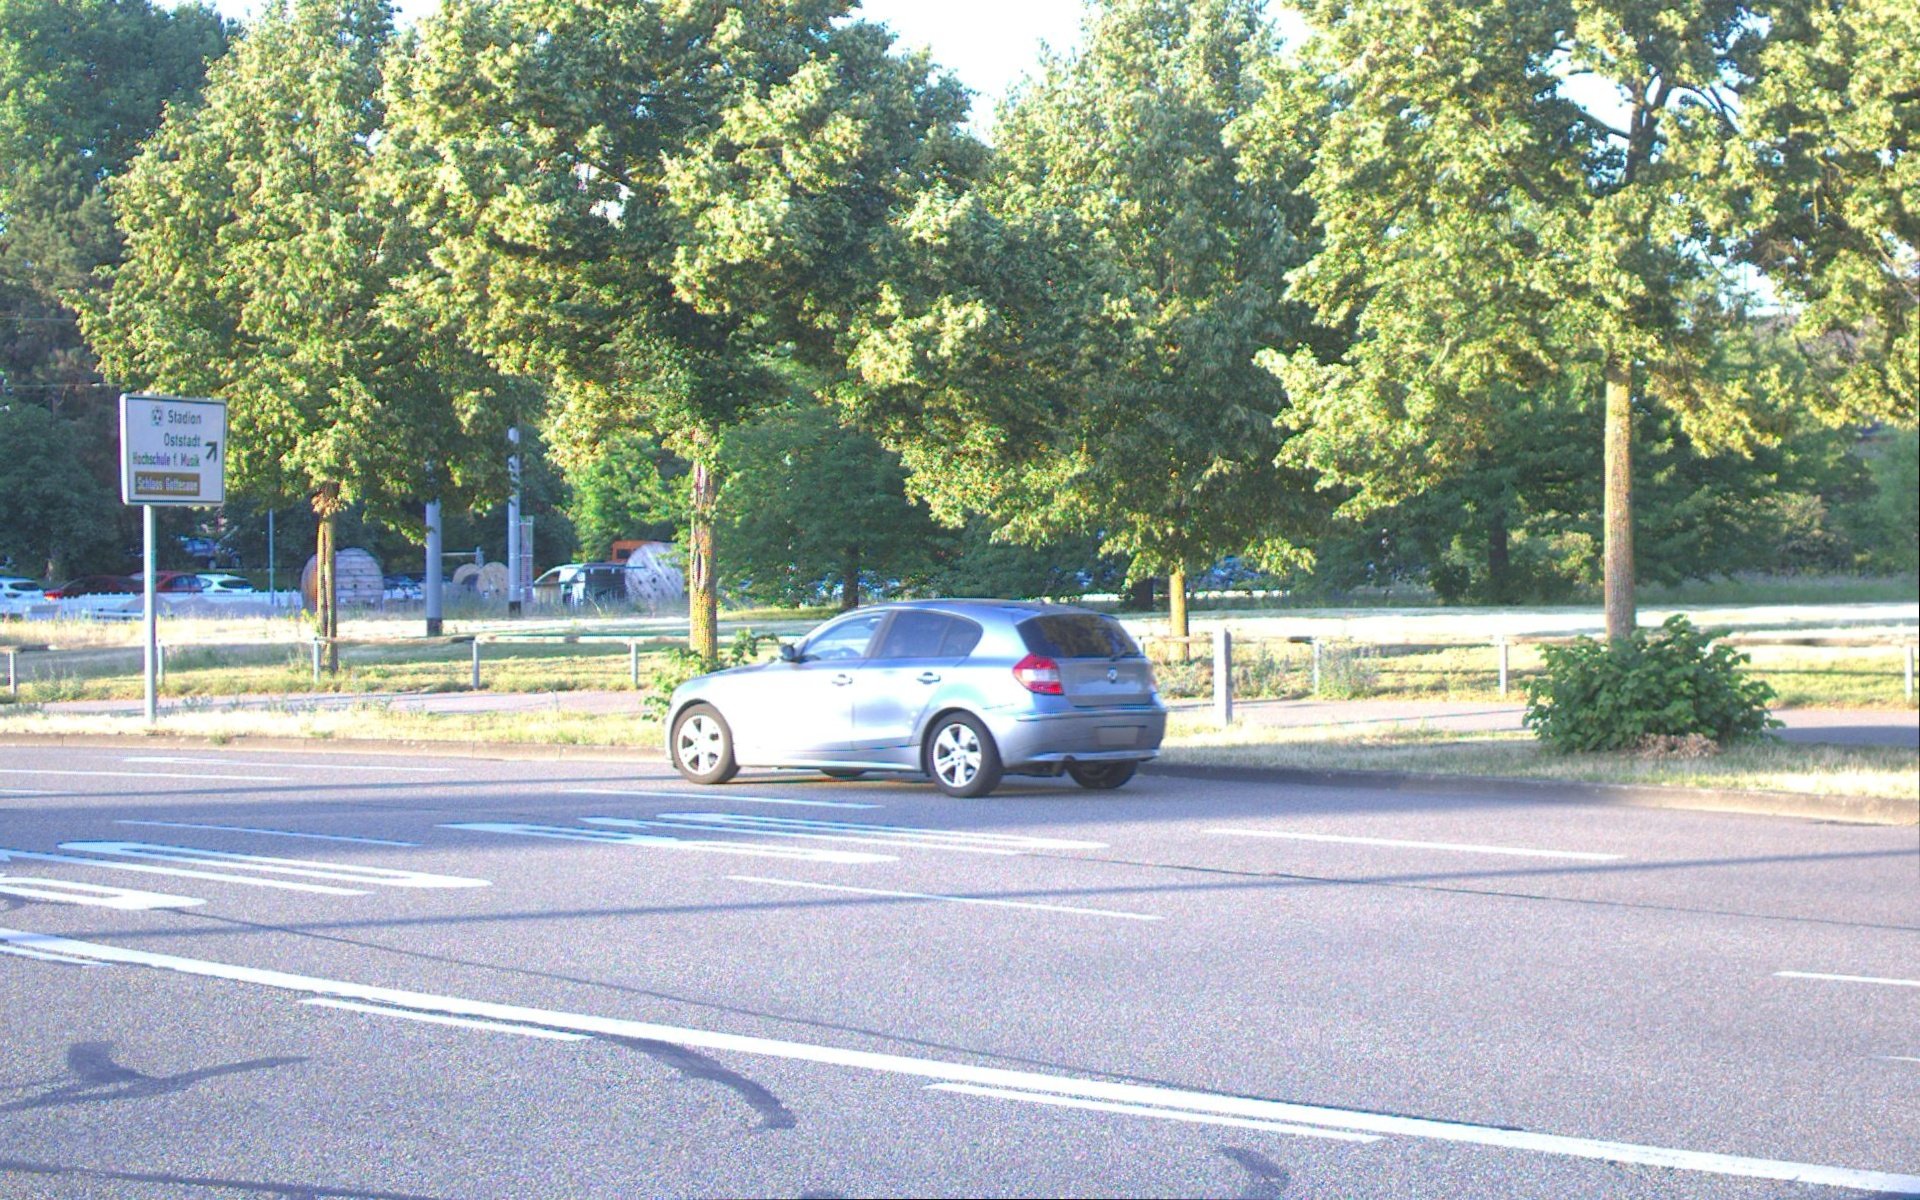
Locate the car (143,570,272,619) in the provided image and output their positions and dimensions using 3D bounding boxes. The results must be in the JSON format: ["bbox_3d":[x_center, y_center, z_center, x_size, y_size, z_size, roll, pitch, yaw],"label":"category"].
[{"bbox_3d":[-25.353,-0.189,115.829,3.994,1.598,1.996,0,1,33],"label":"car"}]

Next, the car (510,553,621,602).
[{"bbox_3d":[-13.211,-0.761,114.886,1.734,1.612,3.998,-1,1,-41],"label":"car"}]

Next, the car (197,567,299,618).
[{"bbox_3d":[-26.799,-0.303,129.308,1.994,1.746,4.597,-1,2,-37],"label":"car"}]

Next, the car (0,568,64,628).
[{"bbox_3d":[-33.129,-0.077,117.679,4.582,2.007,2.001,-1,1,-9],"label":"car"}]

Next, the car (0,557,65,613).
[{"bbox_3d":[-35.213,-0.533,125.813,4.582,2.007,2.001,-1,1,-9],"label":"car"}]

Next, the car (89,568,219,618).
[{"bbox_3d":[-26.757,-0.245,114.099,3.994,1.598,1.996,0,1,33],"label":"car"}]

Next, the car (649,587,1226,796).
[{"bbox_3d":[-0.229,0.616,25.555,4.160,1.385,1.863,1,1,44],"label":"car"}]

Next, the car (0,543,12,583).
[{"bbox_3d":[-42.391,-1.557,145.371,3.988,1.700,2.000,0,1,7],"label":"car"}]
